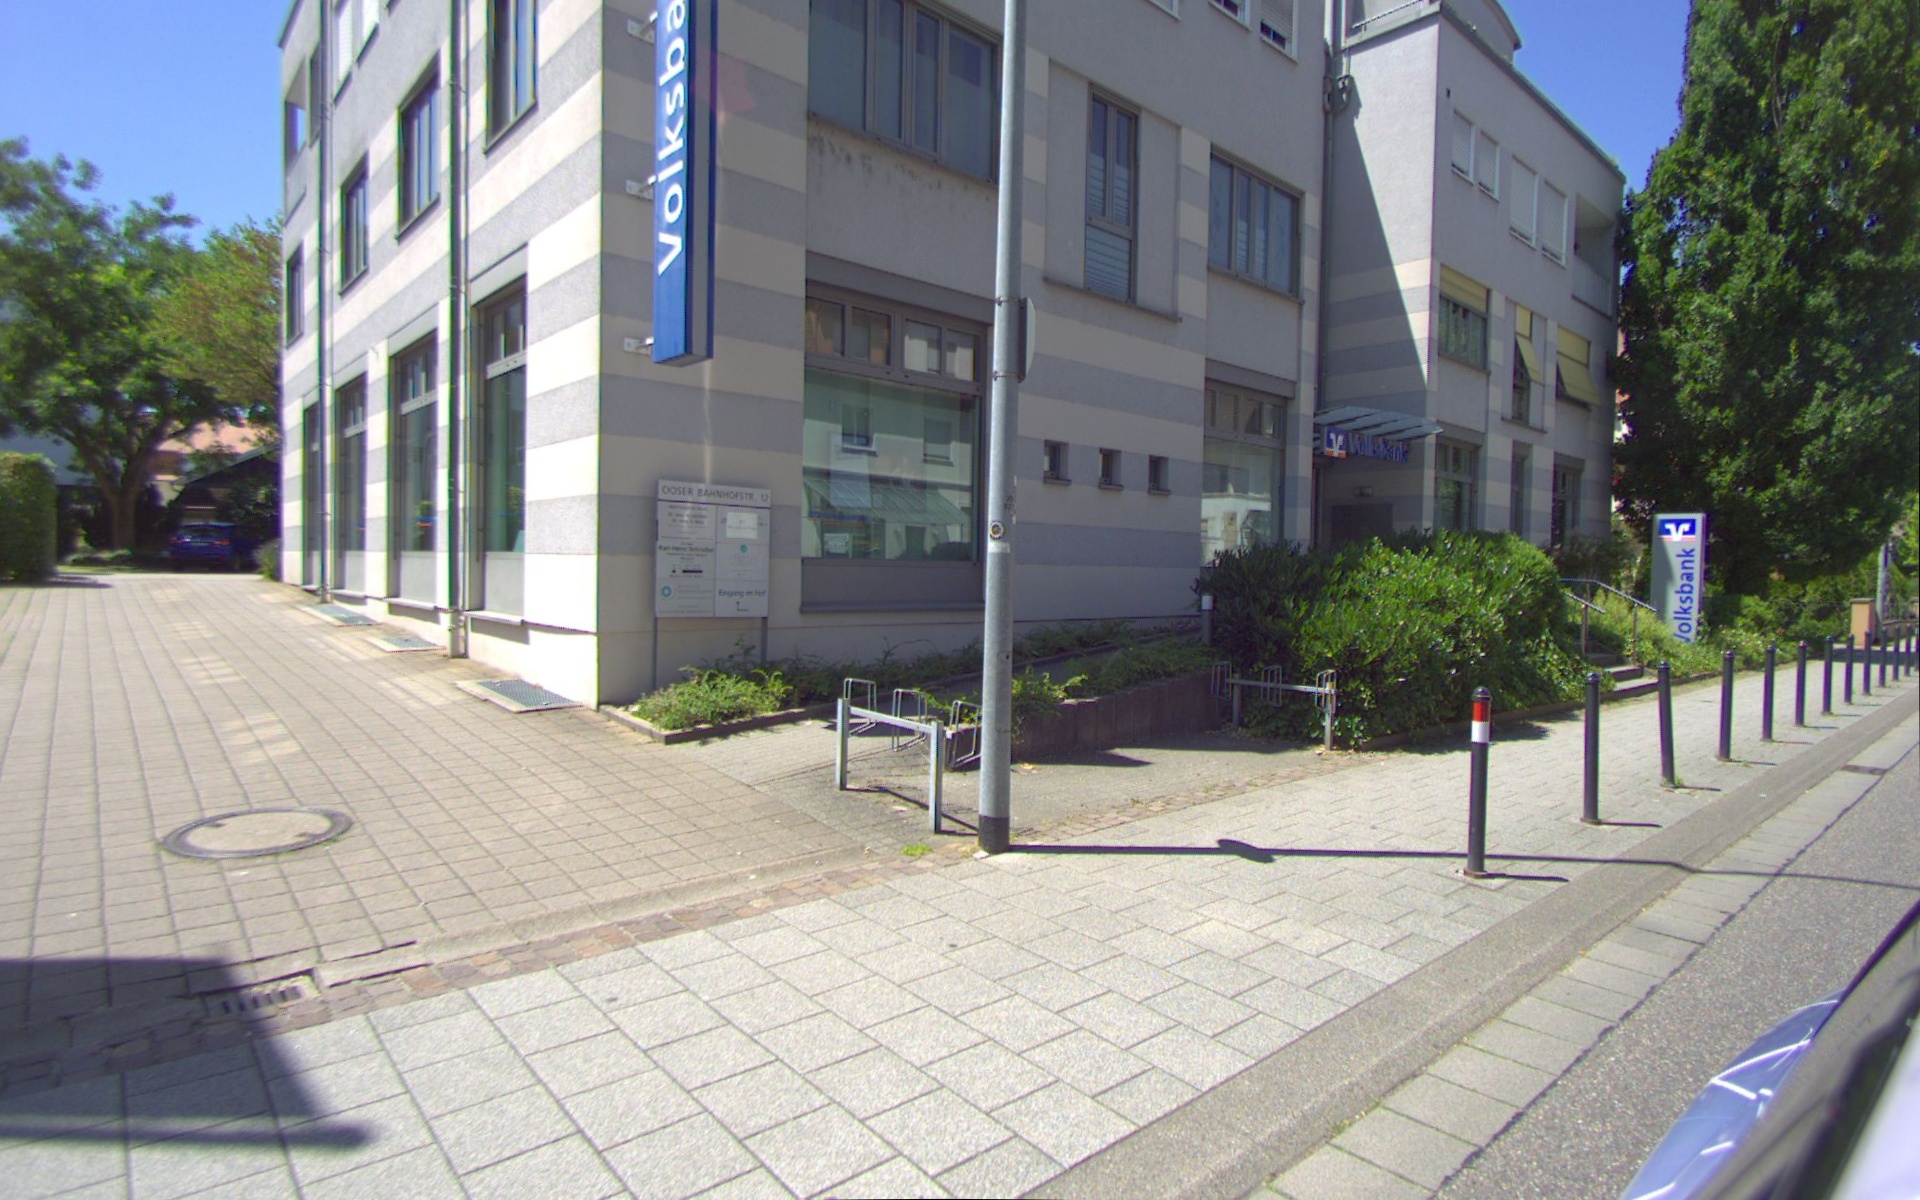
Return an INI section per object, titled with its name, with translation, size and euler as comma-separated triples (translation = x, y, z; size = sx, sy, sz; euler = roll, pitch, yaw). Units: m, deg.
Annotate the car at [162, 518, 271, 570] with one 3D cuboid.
[car]
translation = -24.511, -1.818, 33.517
size = 1.764, 1.589, 4.046
euler = 1, 2, -19
